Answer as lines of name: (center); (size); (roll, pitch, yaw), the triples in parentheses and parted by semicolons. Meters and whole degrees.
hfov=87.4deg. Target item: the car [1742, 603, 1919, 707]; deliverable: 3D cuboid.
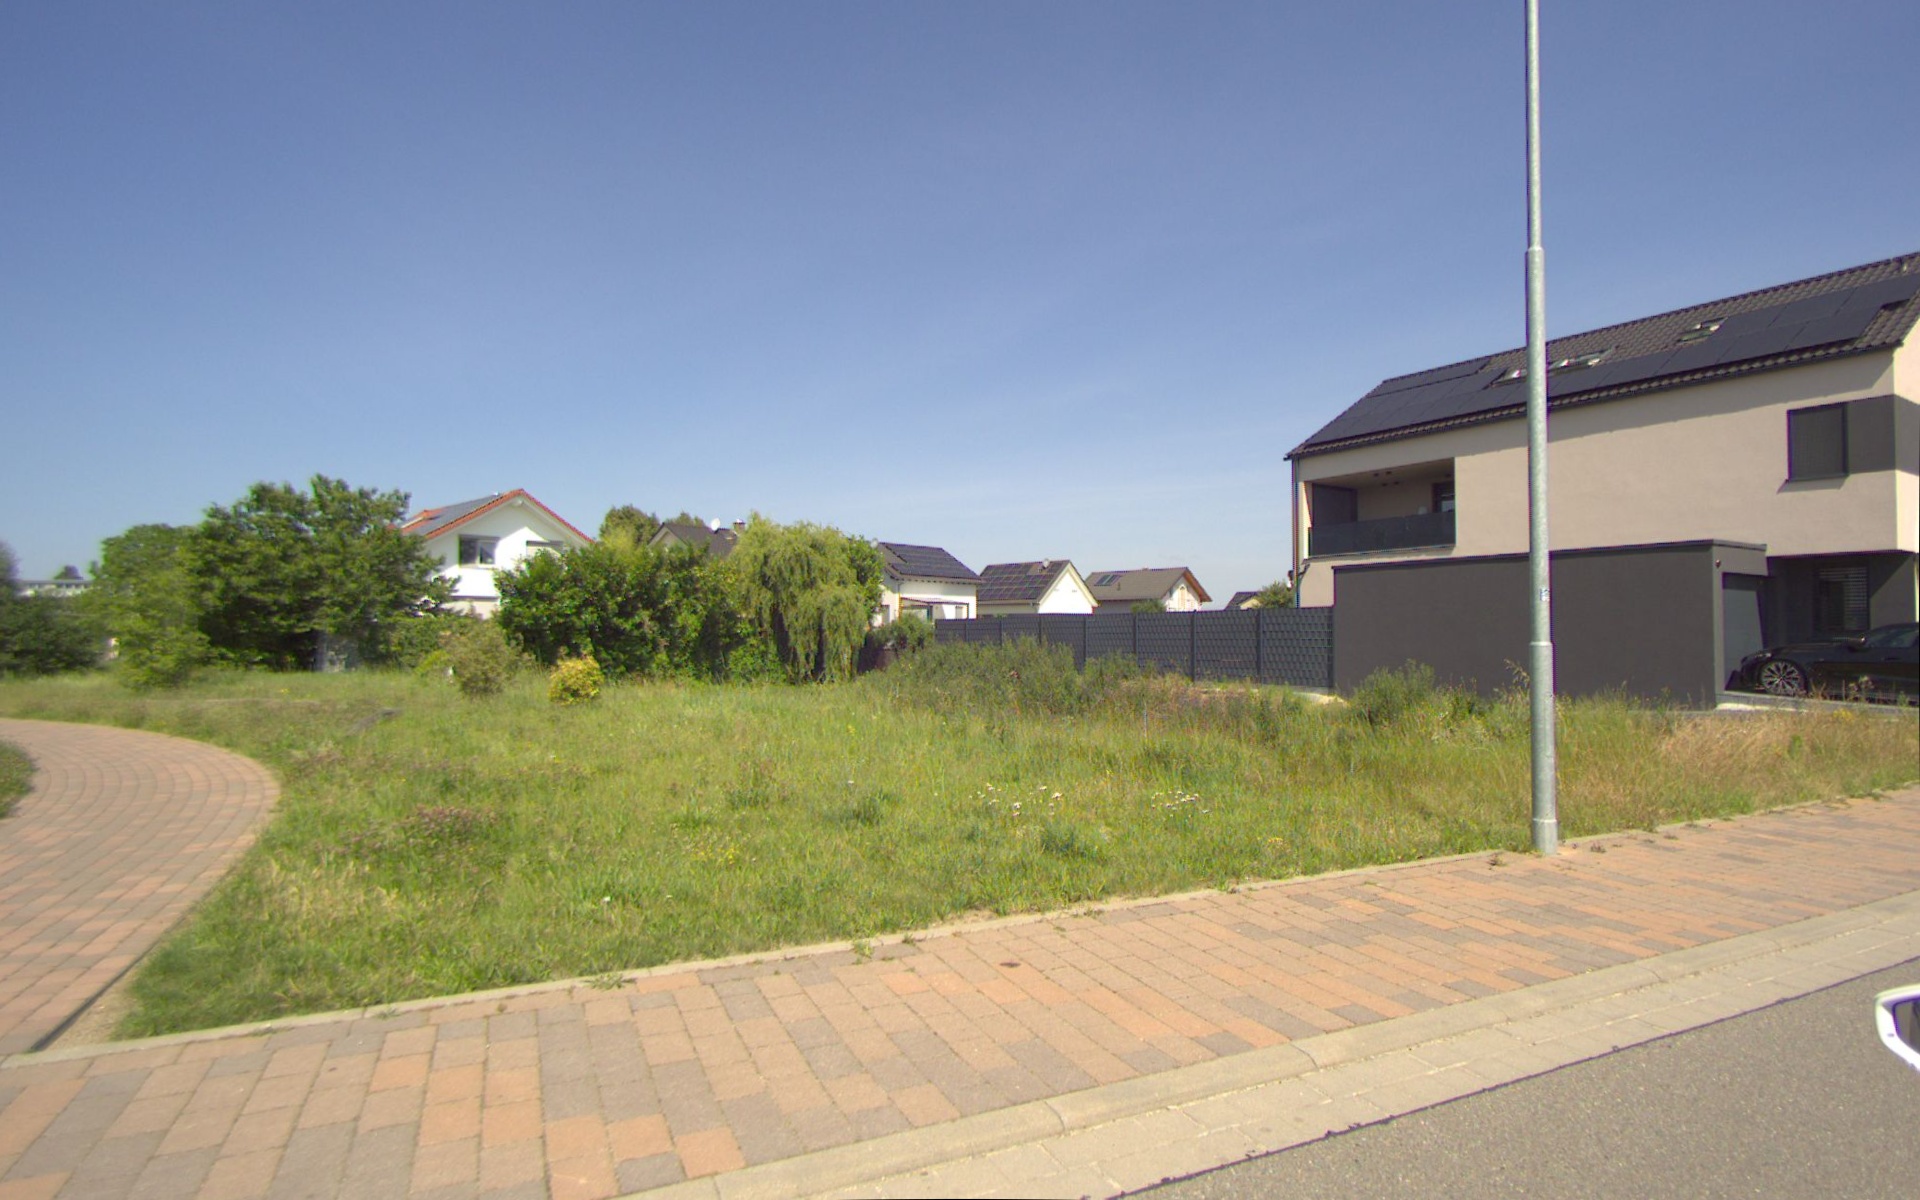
car: (16.356, 0.932, 17.194); (1.751, 1.653, 4.352); (1, 0, -31)

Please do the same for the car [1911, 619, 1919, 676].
car: (26.661, 1.208, 25.043); (1.733, 1.506, 3.969); (1, -2, -30)
